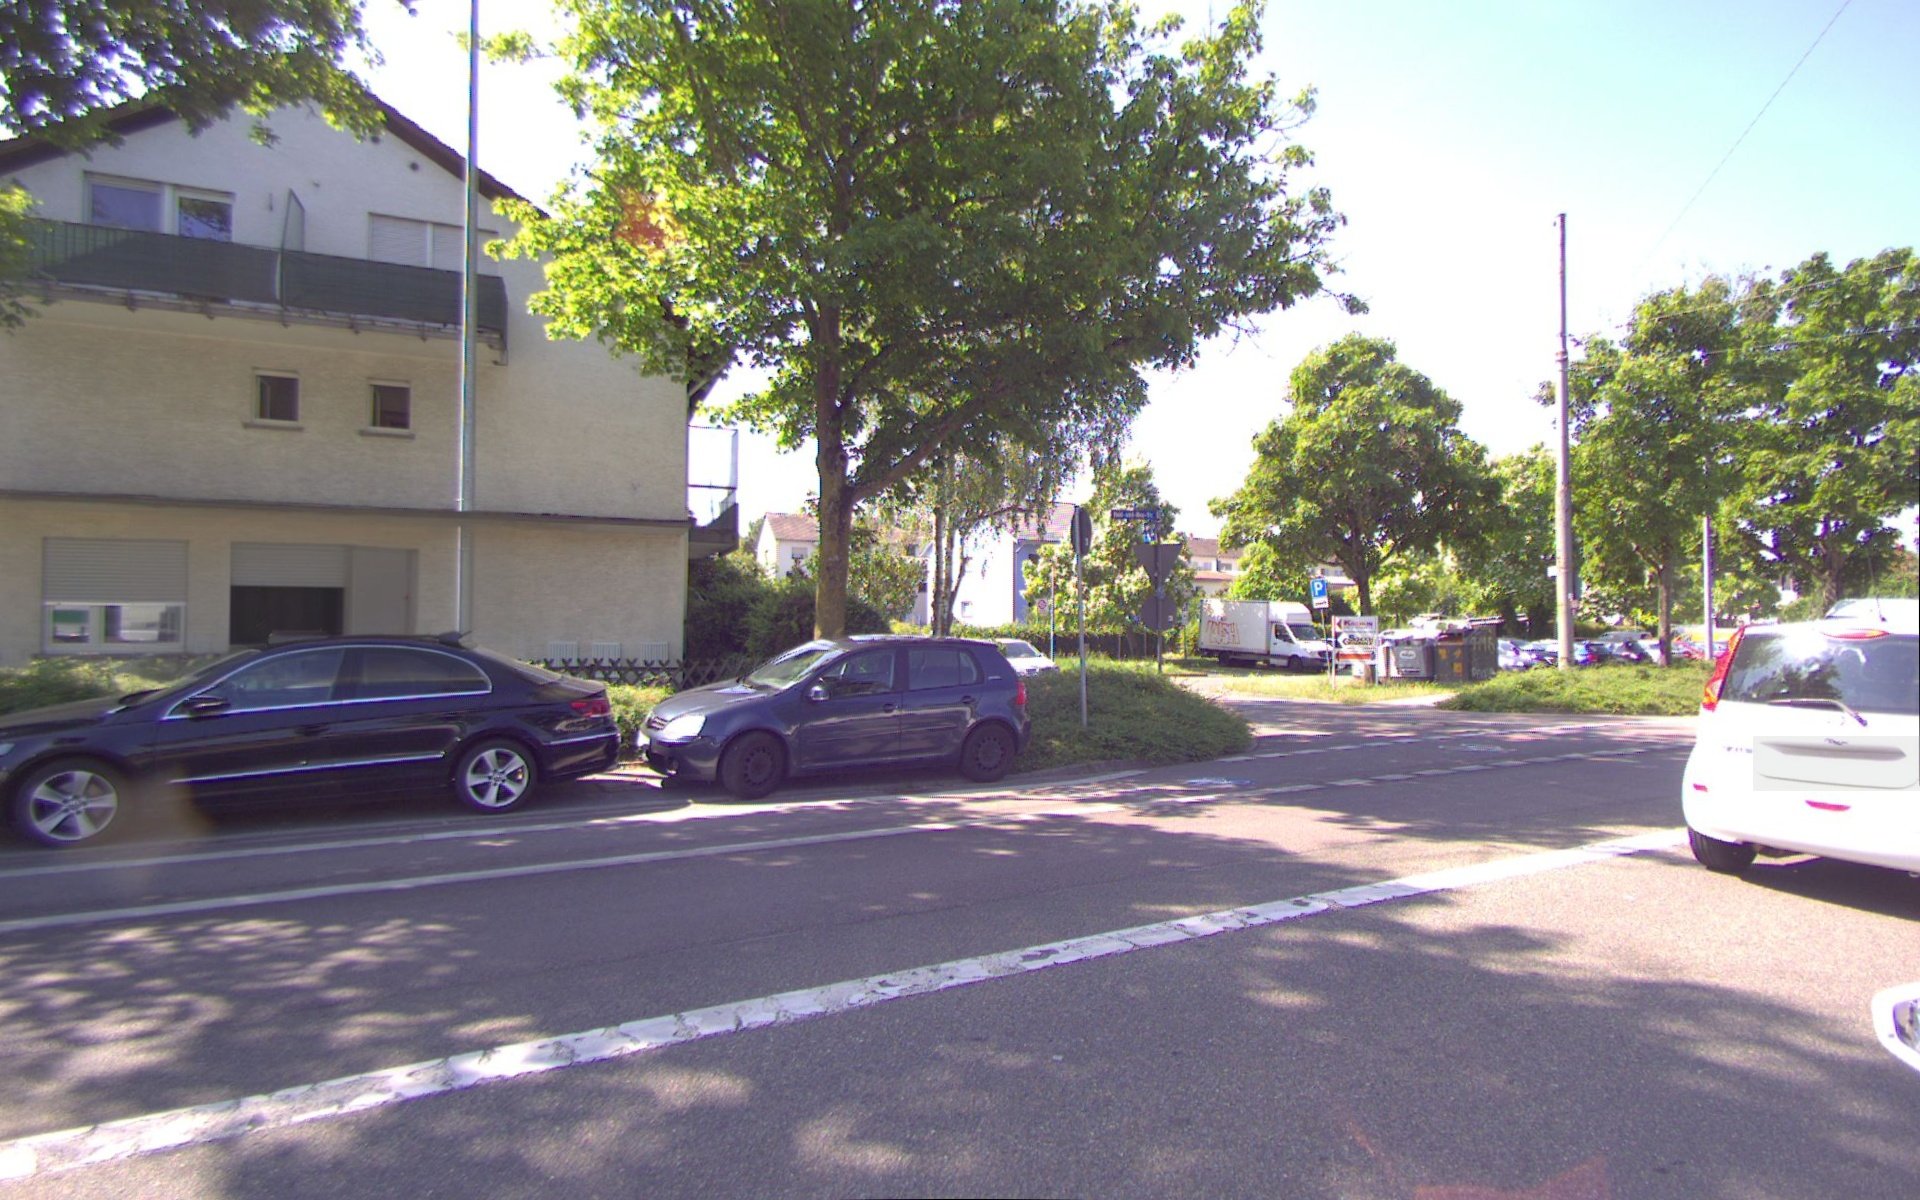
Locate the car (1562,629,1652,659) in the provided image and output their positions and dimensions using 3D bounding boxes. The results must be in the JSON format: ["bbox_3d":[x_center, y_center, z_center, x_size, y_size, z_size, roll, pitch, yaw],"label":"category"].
[{"bbox_3d":[44.546,2.994,69.239,2.043,1.811,4.762,2,0,-34],"label":"car"}]

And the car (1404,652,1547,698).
[{"bbox_3d":[17.317,2.493,33.899,1.712,1.434,3.964,2,-4,-33],"label":"car"}]

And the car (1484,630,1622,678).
[{"bbox_3d":[21.506,1.979,36.575,1.712,1.631,3.964,2,-4,-33],"label":"car"}]

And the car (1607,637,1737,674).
[{"bbox_3d":[28.823,2.247,40.784,1.712,1.434,3.964,2,-4,-33],"label":"car"}]

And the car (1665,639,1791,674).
[{"bbox_3d":[33.155,2.450,43.455,1.712,1.434,3.964,2,-4,-33],"label":"car"}]

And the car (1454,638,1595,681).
[{"bbox_3d":[19.618,2.076,35.074,1.712,1.434,3.964,2,-4,-33],"label":"car"}]

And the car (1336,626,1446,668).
[{"bbox_3d":[21.676,2.328,50.704,2.043,1.811,4.762,2,0,-34],"label":"car"}]

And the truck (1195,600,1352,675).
[{"bbox_3d":[14.439,1.619,46.815,2.646,3.151,6.967,1,0,-30],"label":"truck"}]

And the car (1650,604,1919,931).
[{"bbox_3d":[6.389,0.848,6.255,4.491,1.568,1.655,1,-1,-29],"label":"car"}]

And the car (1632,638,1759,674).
[{"bbox_3d":[30.734,2.337,42.085,1.712,1.434,3.964,2,-4,-33],"label":"car"}]

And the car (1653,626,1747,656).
[{"bbox_3d":[50.536,2.778,68.722,2.043,1.811,4.762,2,0,-34],"label":"car"}]

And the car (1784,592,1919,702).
[{"bbox_3d":[23.827,1.146,25.796,5.745,2.550,2.114,1,0,-29],"label":"car"}]

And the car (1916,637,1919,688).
[{"bbox_3d":[29.393,1.823,28.762,4.230,1.434,1.854,1,0,-31],"label":"car"}]

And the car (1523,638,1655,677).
[{"bbox_3d":[24.164,2.216,38.715,1.712,1.434,3.964,2,-4,-33],"label":"car"}]

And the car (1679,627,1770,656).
[{"bbox_3d":[54.413,2.909,71.549,2.043,1.811,4.762,2,0,-34],"label":"car"}]

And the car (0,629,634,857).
[{"bbox_3d":[-5.264,1.007,8.356,4.568,1.434,1.854,1,0,-31],"label":"car"}]

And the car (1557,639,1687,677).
[{"bbox_3d":[26.344,2.332,40.096,1.712,1.434,3.964,2,-4,-33],"label":"car"}]

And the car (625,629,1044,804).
[{"bbox_3d":[-1.276,1.086,10.480,3.988,1.462,1.718,1,0,-28],"label":"car"}]

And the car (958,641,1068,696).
[{"bbox_3d":[1.406,1.925,28.438,1.704,1.434,3.983,1,-3,-20],"label":"car"}]
